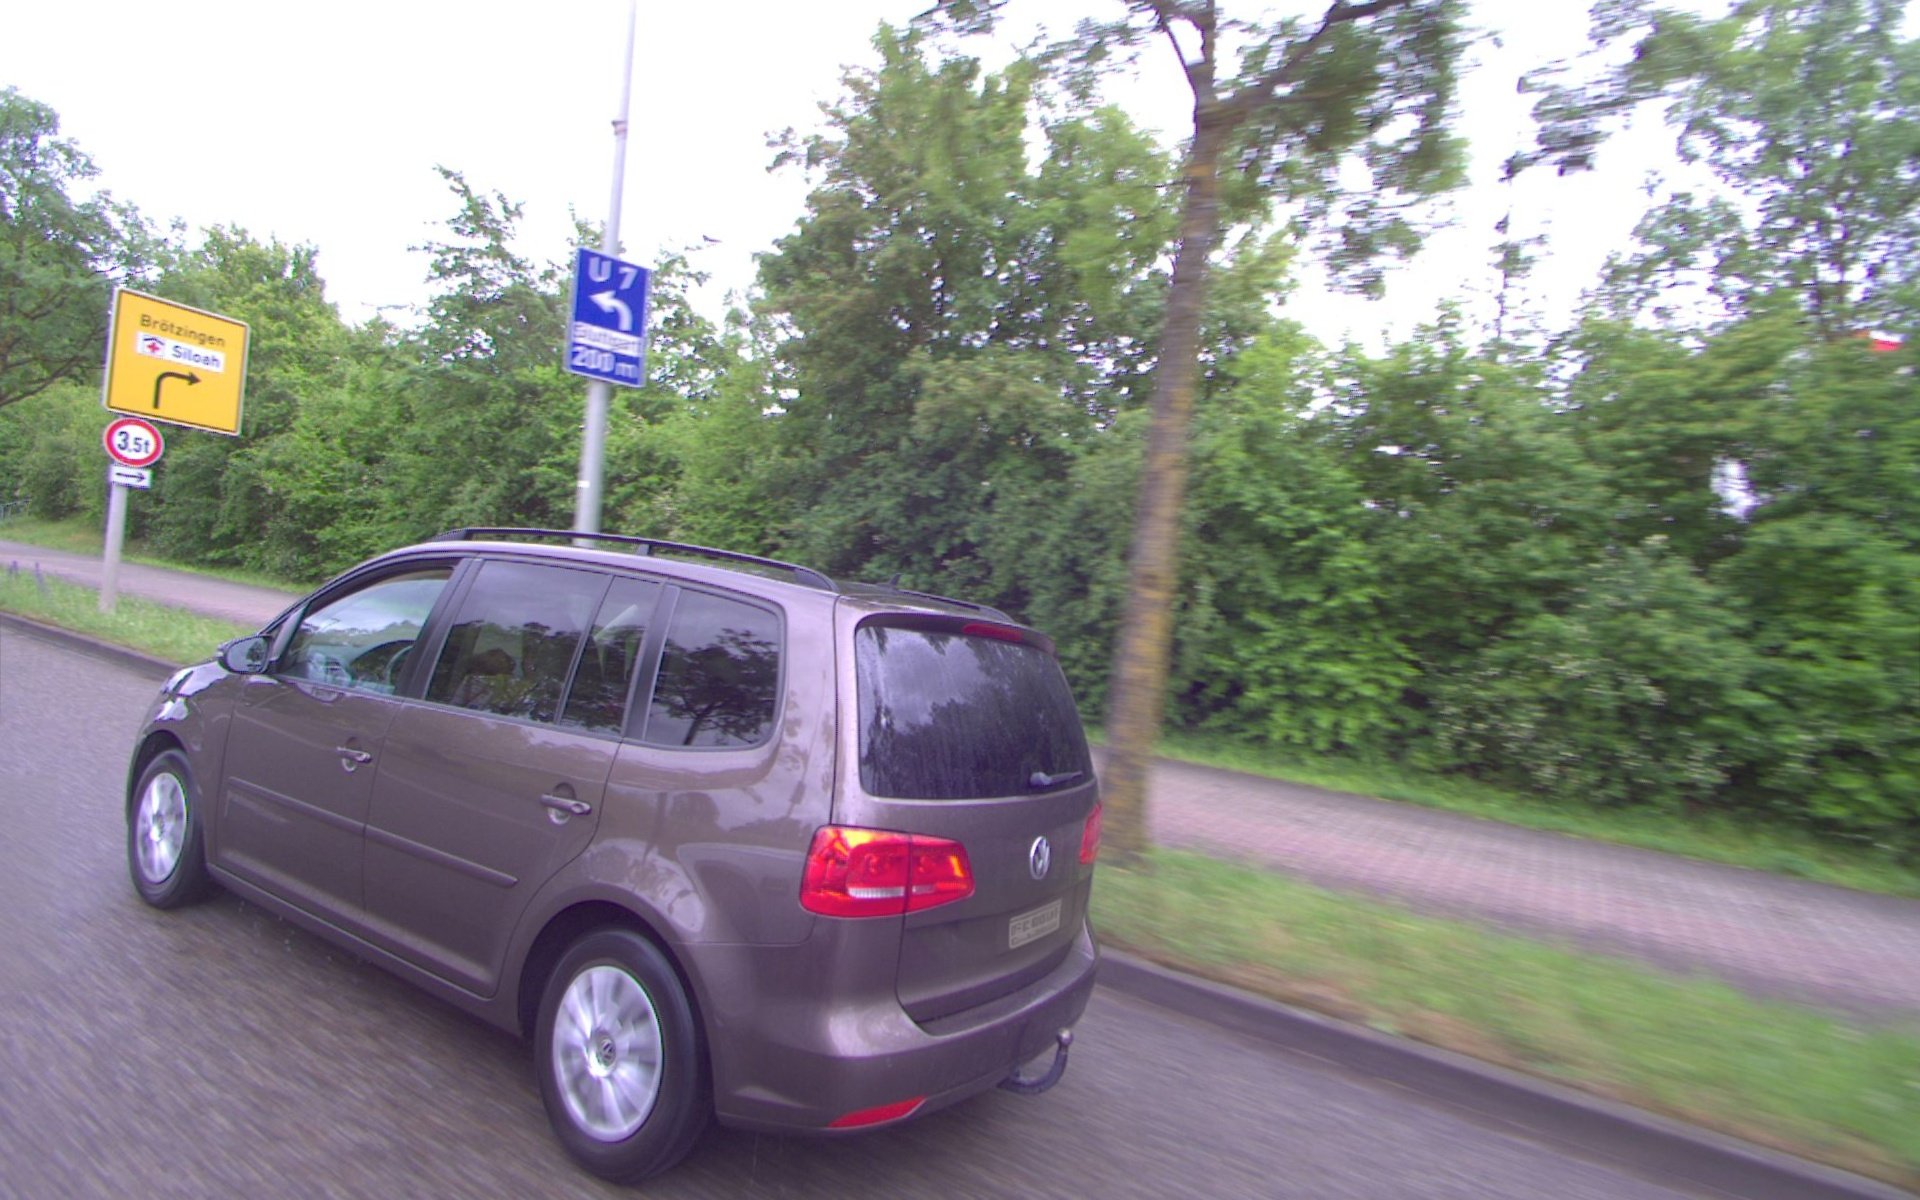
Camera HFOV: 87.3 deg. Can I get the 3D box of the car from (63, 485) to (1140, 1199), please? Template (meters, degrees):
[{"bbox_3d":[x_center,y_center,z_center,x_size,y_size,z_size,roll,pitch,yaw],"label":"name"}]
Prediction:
[{"bbox_3d":[-1.598,0.574,3.972,4.062,1.615,1.717,6,-2,32],"label":"car"}]
